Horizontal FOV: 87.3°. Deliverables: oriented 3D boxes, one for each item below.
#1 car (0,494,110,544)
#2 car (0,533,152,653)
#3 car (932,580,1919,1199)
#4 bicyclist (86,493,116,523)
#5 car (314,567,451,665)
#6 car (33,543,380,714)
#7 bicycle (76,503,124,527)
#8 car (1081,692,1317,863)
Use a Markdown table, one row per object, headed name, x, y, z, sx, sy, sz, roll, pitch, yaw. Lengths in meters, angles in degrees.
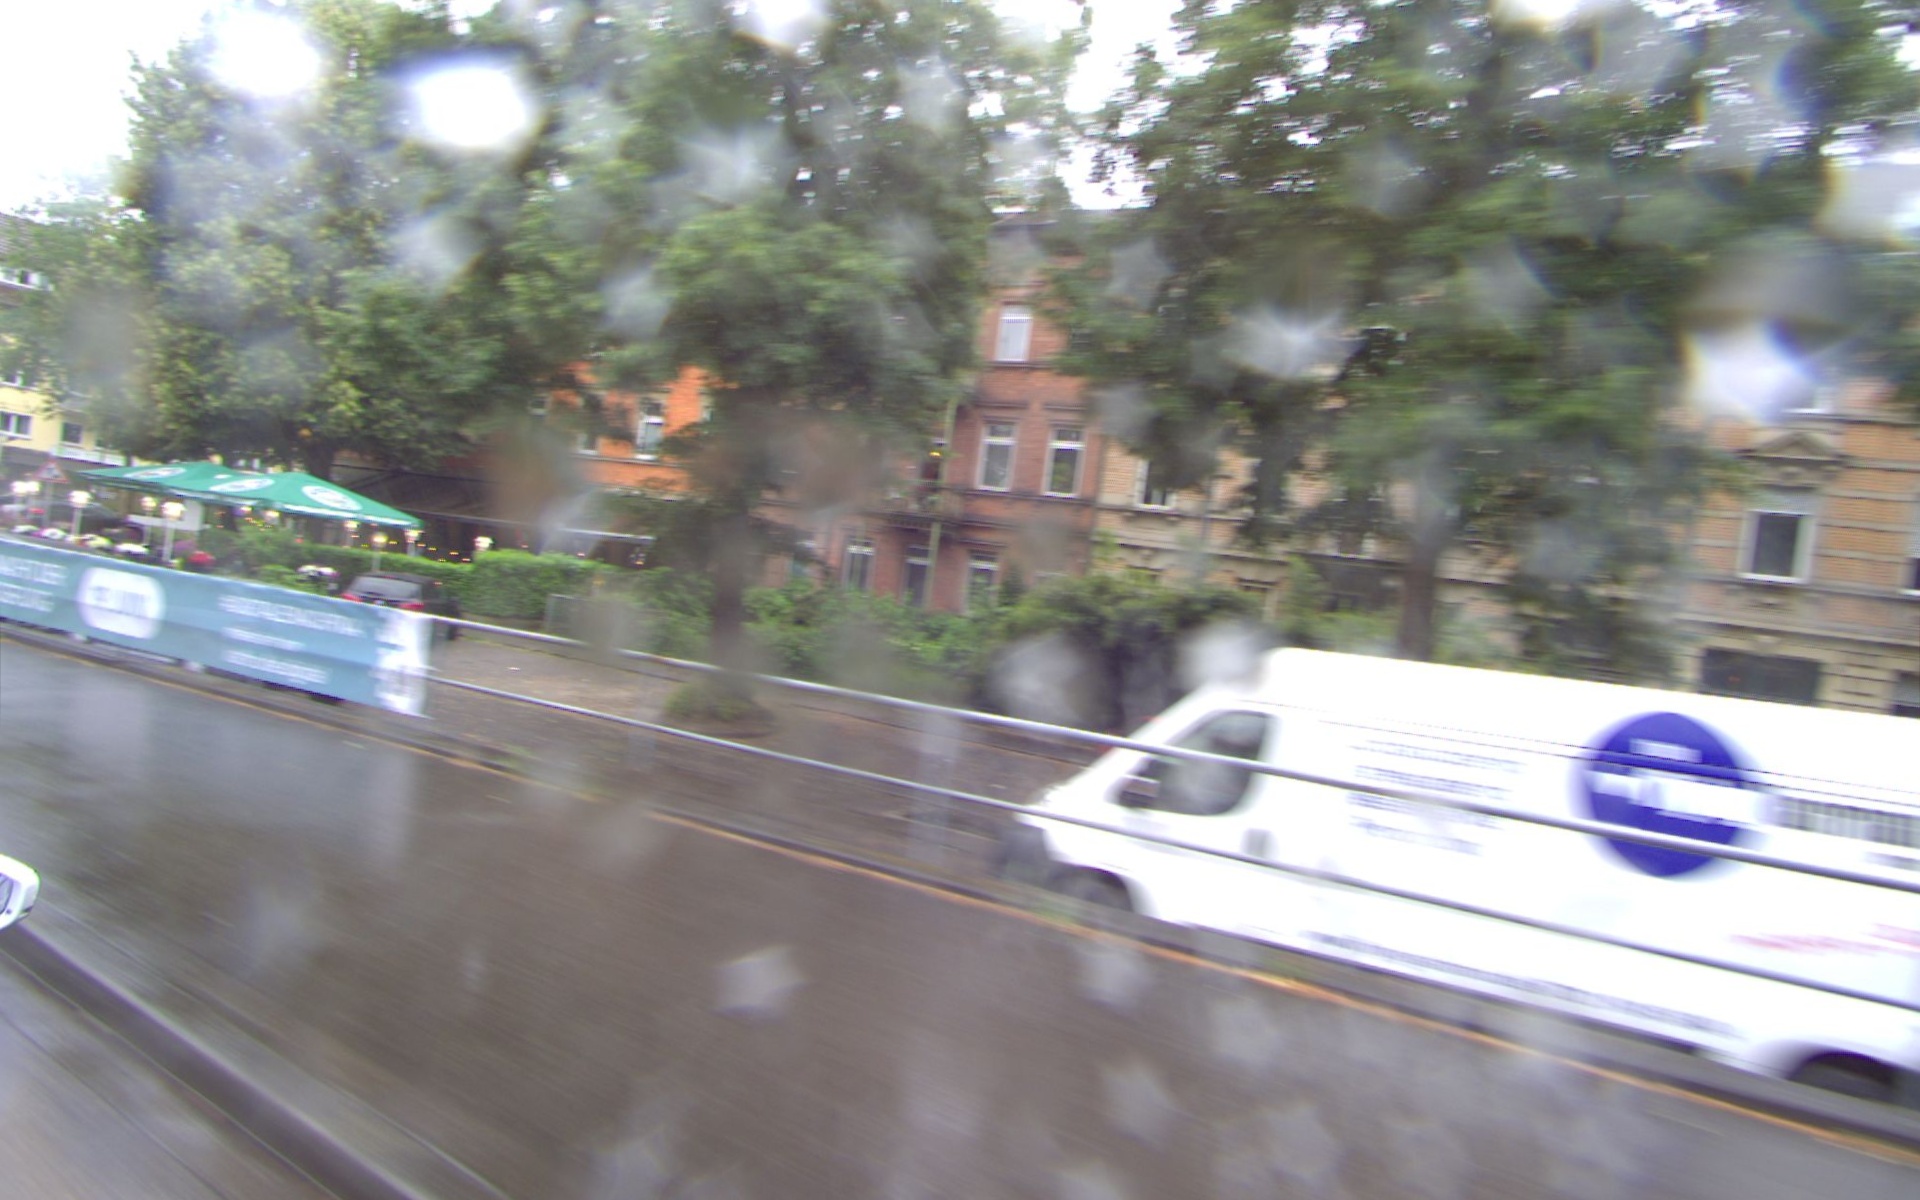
| name | x | y | z | sx | sy | sz | roll | pitch | yaw |
| --- | --- | --- | --- | --- | --- | --- | --- | --- | --- |
| car | -42.944 | -3.805 | 46.704 | 1.972 | 1.661 | 4.936 | 3 | -4 | 39 |
| car | -14.021 | -0.211 | 14.872 | 3.903 | 1.416 | 1.708 | 7 | -2 | 28 |
| car | 3.135 | 1.524 | 6.787 | 6.049 | 2.447 | 2.217 | 7 | -3 | 25 |
| bicyclist | -50.754 | -5.429 | 59.458 | 0.923 | 1.565 | 1.066 | 7 | -2 | 39 |
| car | -12.599 | 0.302 | 22.198 | 1.975 | 1.733 | 3.979 | 8 | -2 | -23 |
| car | -9.558 | 0.349 | 12.740 | 4.002 | 1.557 | 1.738 | 7 | -2 | 26 |
| bicycle | -50.829 | -5.044 | 59.458 | 0.650 | 1.039 | 2.017 | 7 | -2 | 40 |
| car | 3.185 | 2.376 | 14.478 | 1.865 | 1.470 | 4.428 | 8 | -1 | -5 |
